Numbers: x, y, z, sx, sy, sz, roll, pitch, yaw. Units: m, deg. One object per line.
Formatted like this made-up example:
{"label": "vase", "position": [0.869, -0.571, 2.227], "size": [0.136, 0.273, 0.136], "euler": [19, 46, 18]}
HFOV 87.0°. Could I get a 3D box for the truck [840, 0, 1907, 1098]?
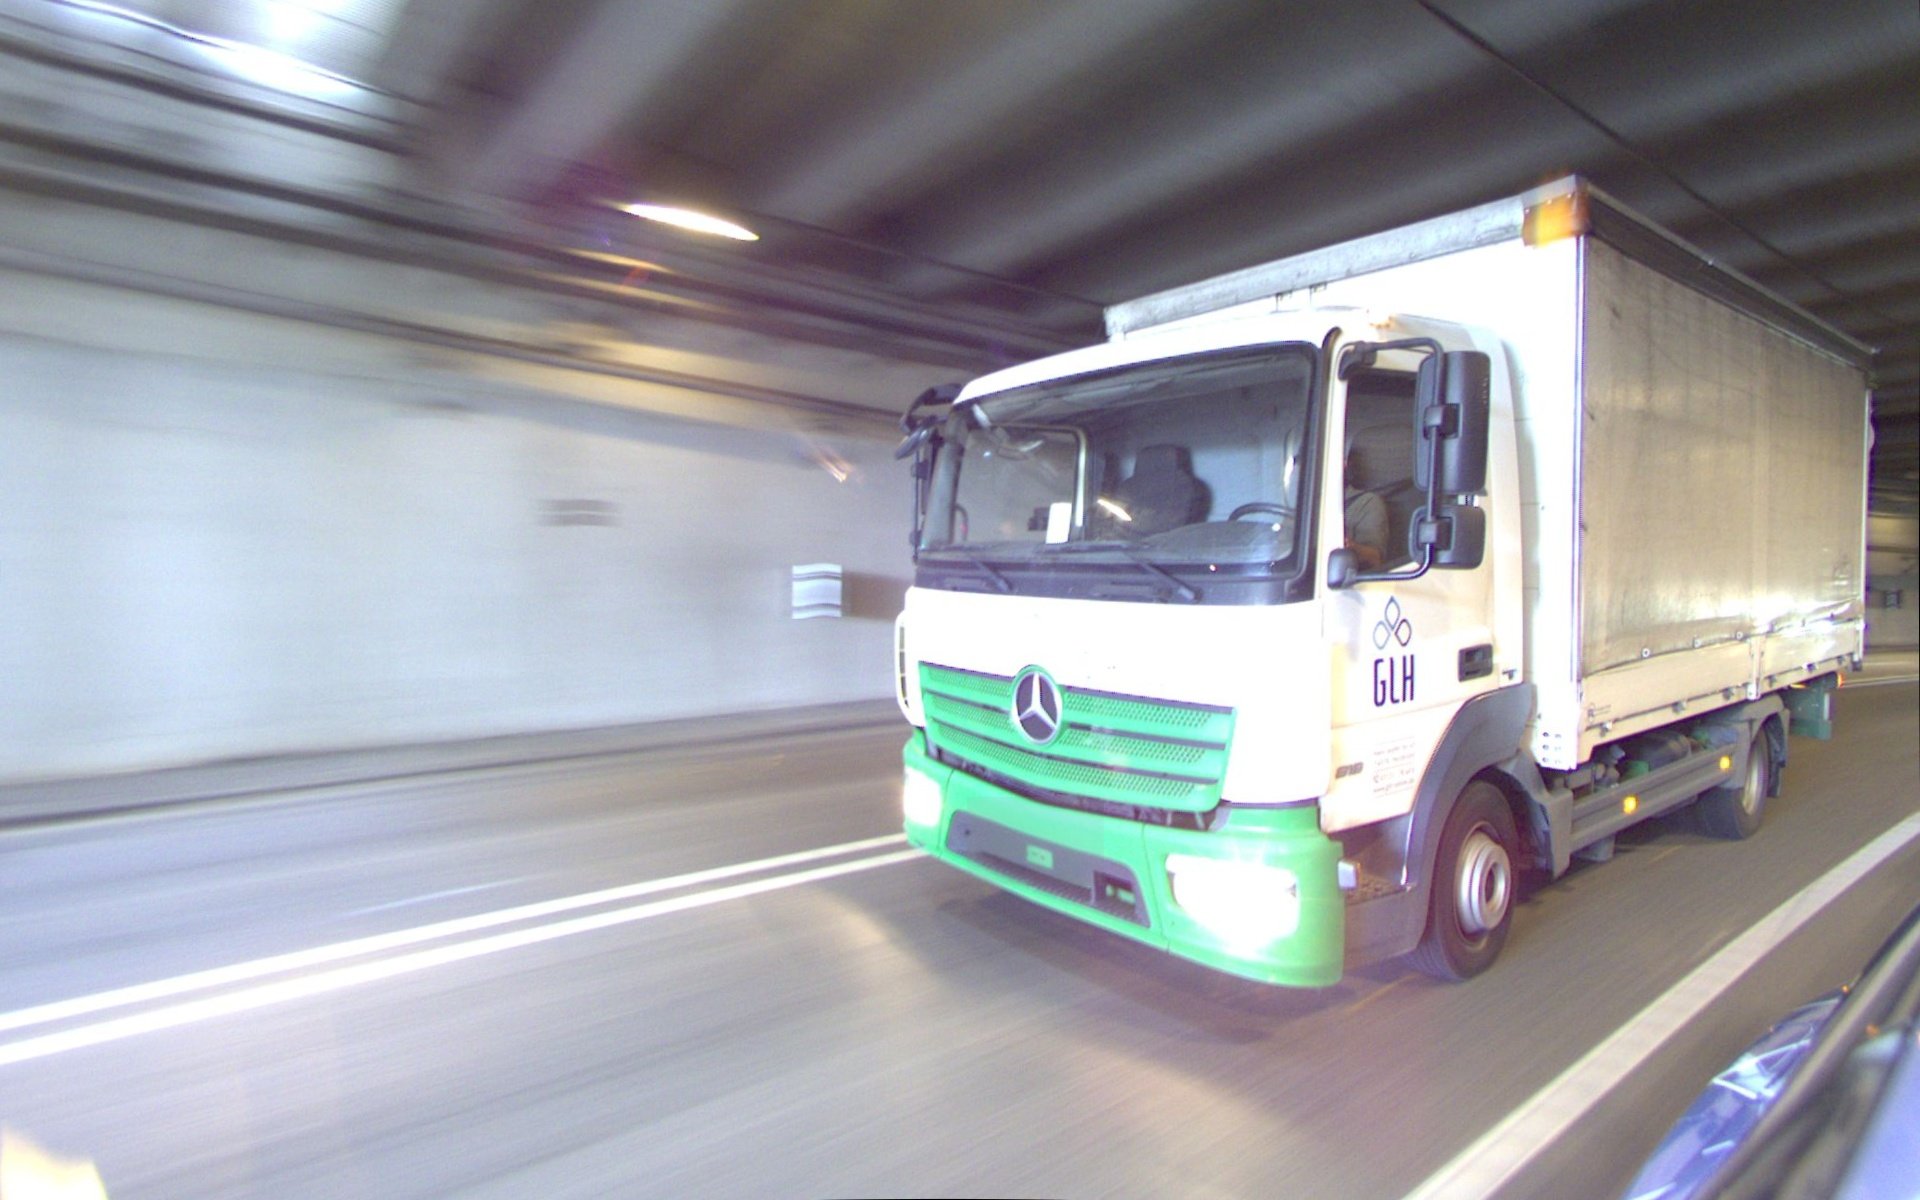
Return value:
{"label": "truck", "position": [3.091, -0.307, 6.056], "size": [7.279, 3.280, 2.636], "euler": [0, 0, -38]}
